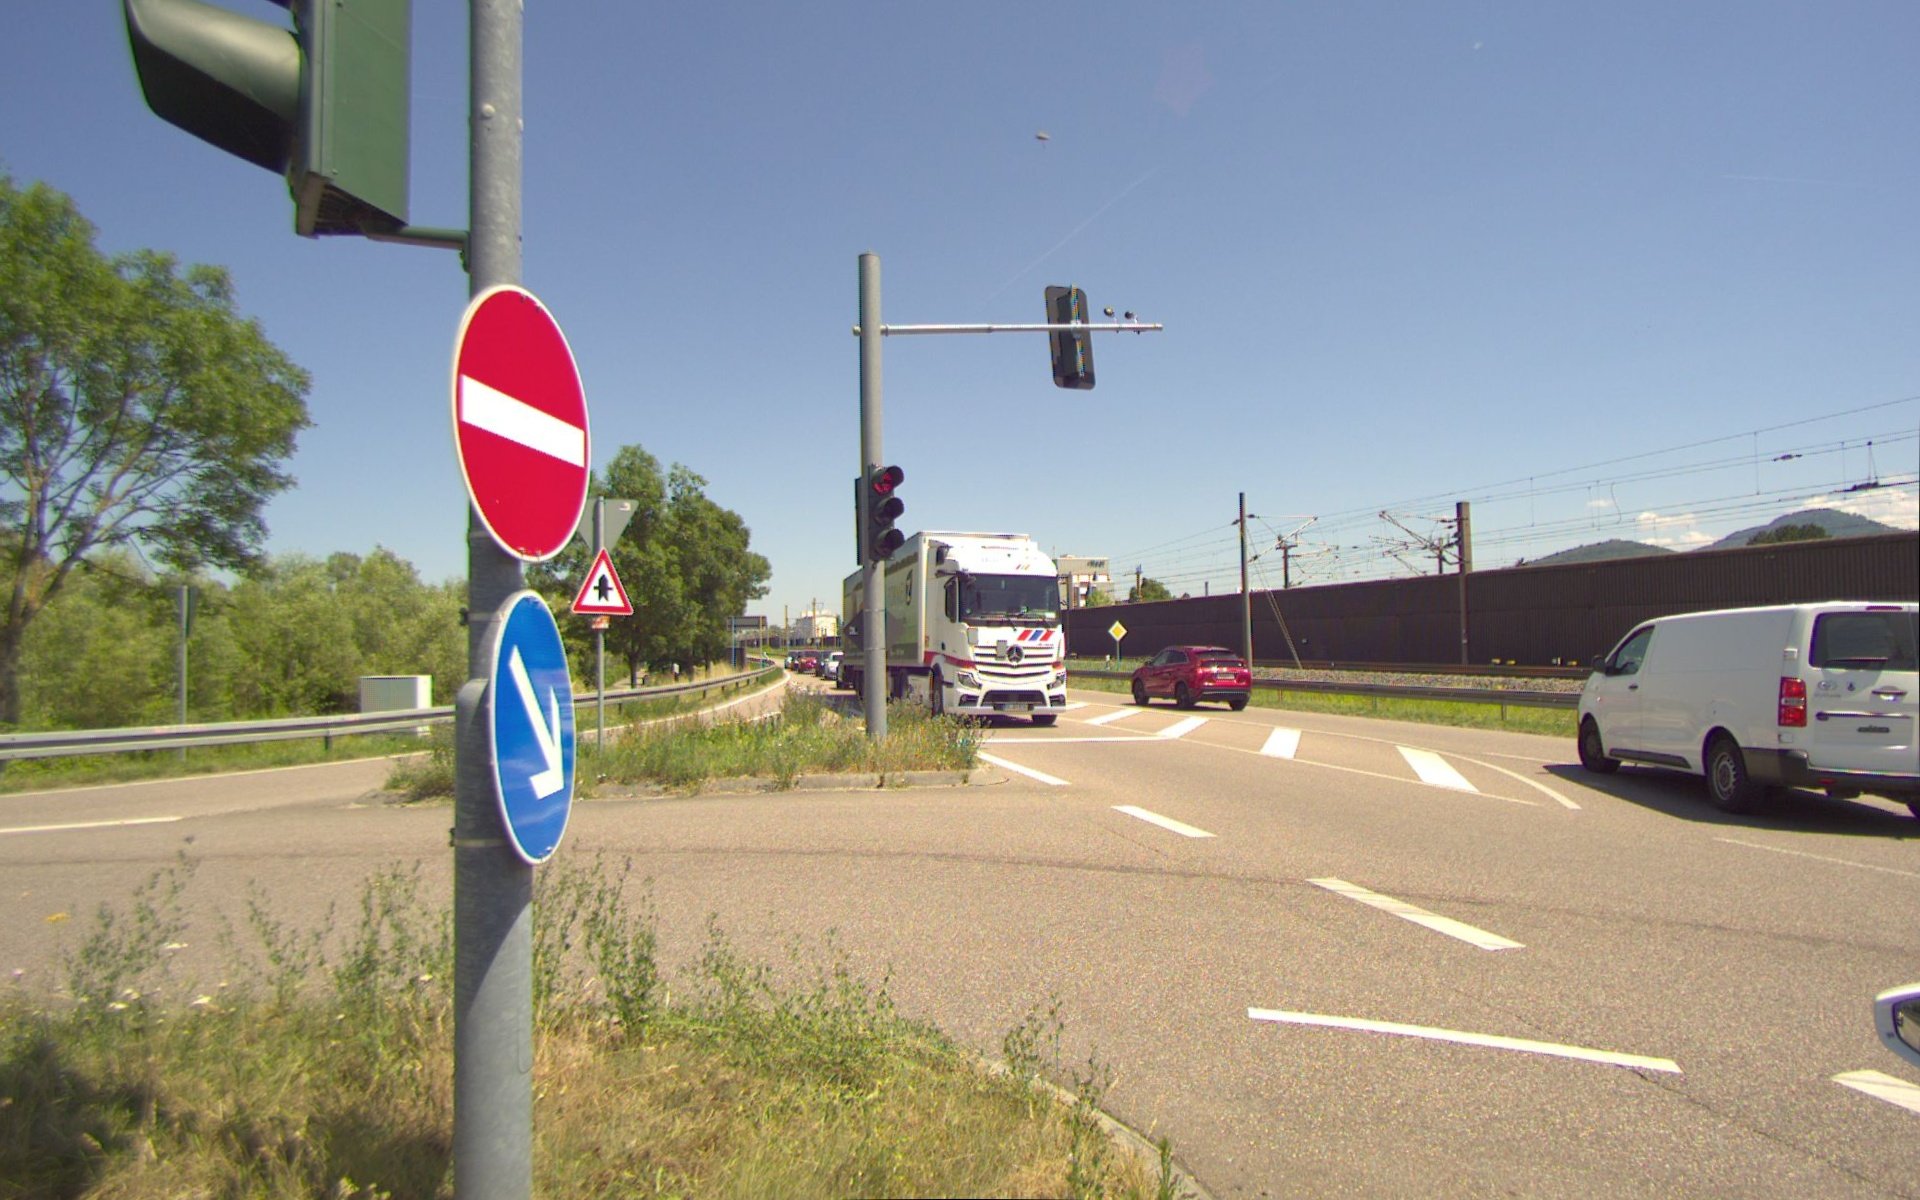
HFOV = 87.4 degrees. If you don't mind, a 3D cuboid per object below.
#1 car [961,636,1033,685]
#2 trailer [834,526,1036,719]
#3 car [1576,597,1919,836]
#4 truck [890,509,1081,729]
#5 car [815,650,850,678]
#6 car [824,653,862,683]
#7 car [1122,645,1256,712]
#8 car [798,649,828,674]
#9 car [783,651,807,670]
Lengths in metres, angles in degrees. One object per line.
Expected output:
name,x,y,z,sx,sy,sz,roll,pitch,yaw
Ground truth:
car,1.572,2.673,44.570,1.979,2.049,4.772,1,-3,-13
trailer,-1.353,0.868,28.453,2.653,4.097,14.088,1,-3,-14
car,8.320,1.065,10.408,1.913,1.906,4.885,0,-3,14
truck,0.327,0.521,21.879,2.653,4.097,5.810,1,-3,-14
car,-7.771,3.840,61.026,1.692,1.610,4.525,1,-3,-12
car,-6.376,3.645,54.484,1.629,1.498,4.621,1,-3,-12
car,6.135,2.077,27.384,1.880,1.671,4.130,1,-3,-15
car,-10.078,4.176,68.607,1.731,1.653,4.270,1,-3,-12
car,-13.603,4.945,82.752,1.662,1.478,4.605,1,-3,-13
